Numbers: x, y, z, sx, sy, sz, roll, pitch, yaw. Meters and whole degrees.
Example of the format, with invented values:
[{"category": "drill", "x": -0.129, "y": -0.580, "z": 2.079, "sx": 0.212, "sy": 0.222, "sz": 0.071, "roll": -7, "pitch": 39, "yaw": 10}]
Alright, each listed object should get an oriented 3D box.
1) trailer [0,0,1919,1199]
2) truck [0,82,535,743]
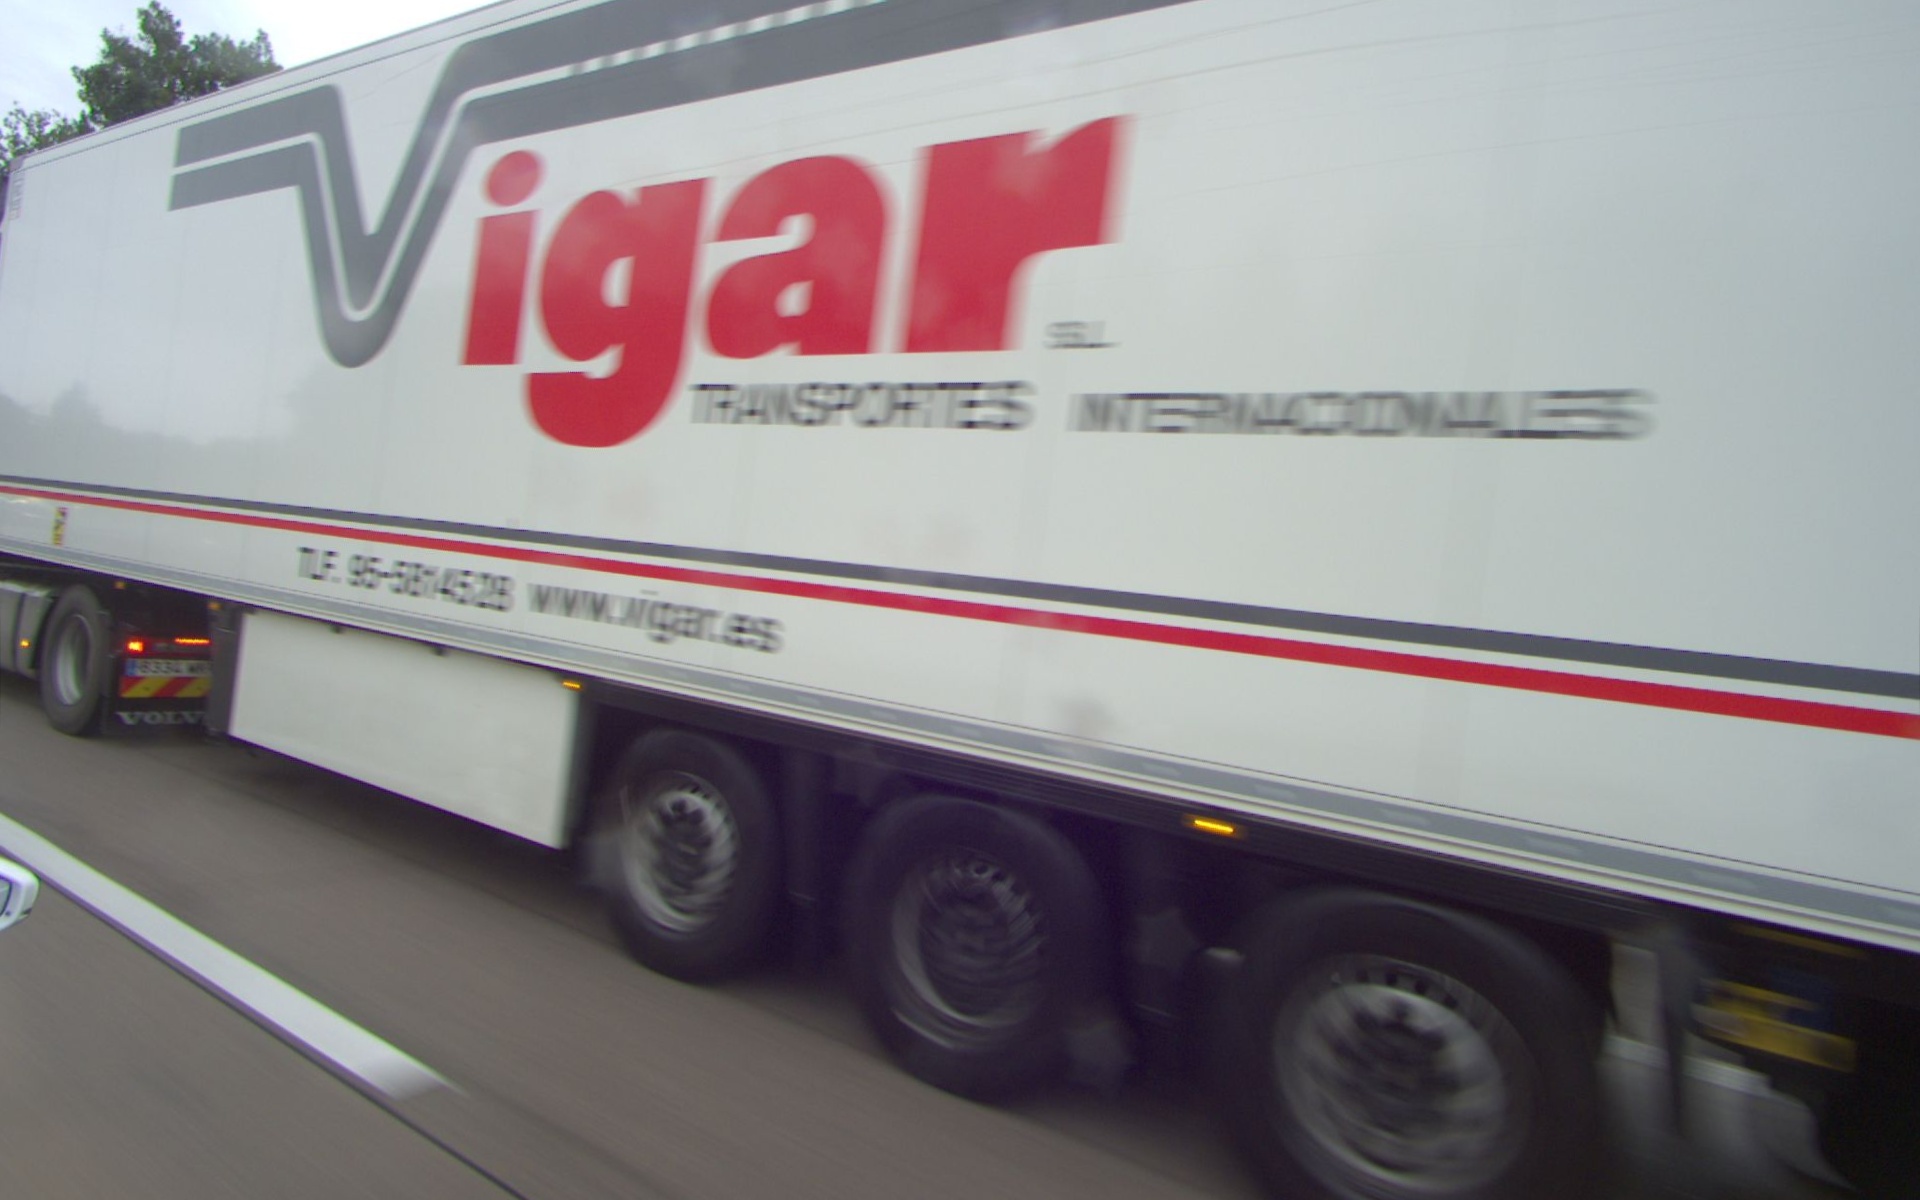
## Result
[{"category": "trailer", "x": -1.400, "y": -0.674, "z": 5.555, "sx": 13.454, "sy": 4.152, "sz": 2.739, "roll": 7, "pitch": -1, "yaw": 31}, {"category": "truck", "x": -7.118, "y": -1.328, "z": 9.003, "sx": 5.868, "sy": 4.152, "sz": 2.803, "roll": 7, "pitch": -1, "yaw": 31}]
